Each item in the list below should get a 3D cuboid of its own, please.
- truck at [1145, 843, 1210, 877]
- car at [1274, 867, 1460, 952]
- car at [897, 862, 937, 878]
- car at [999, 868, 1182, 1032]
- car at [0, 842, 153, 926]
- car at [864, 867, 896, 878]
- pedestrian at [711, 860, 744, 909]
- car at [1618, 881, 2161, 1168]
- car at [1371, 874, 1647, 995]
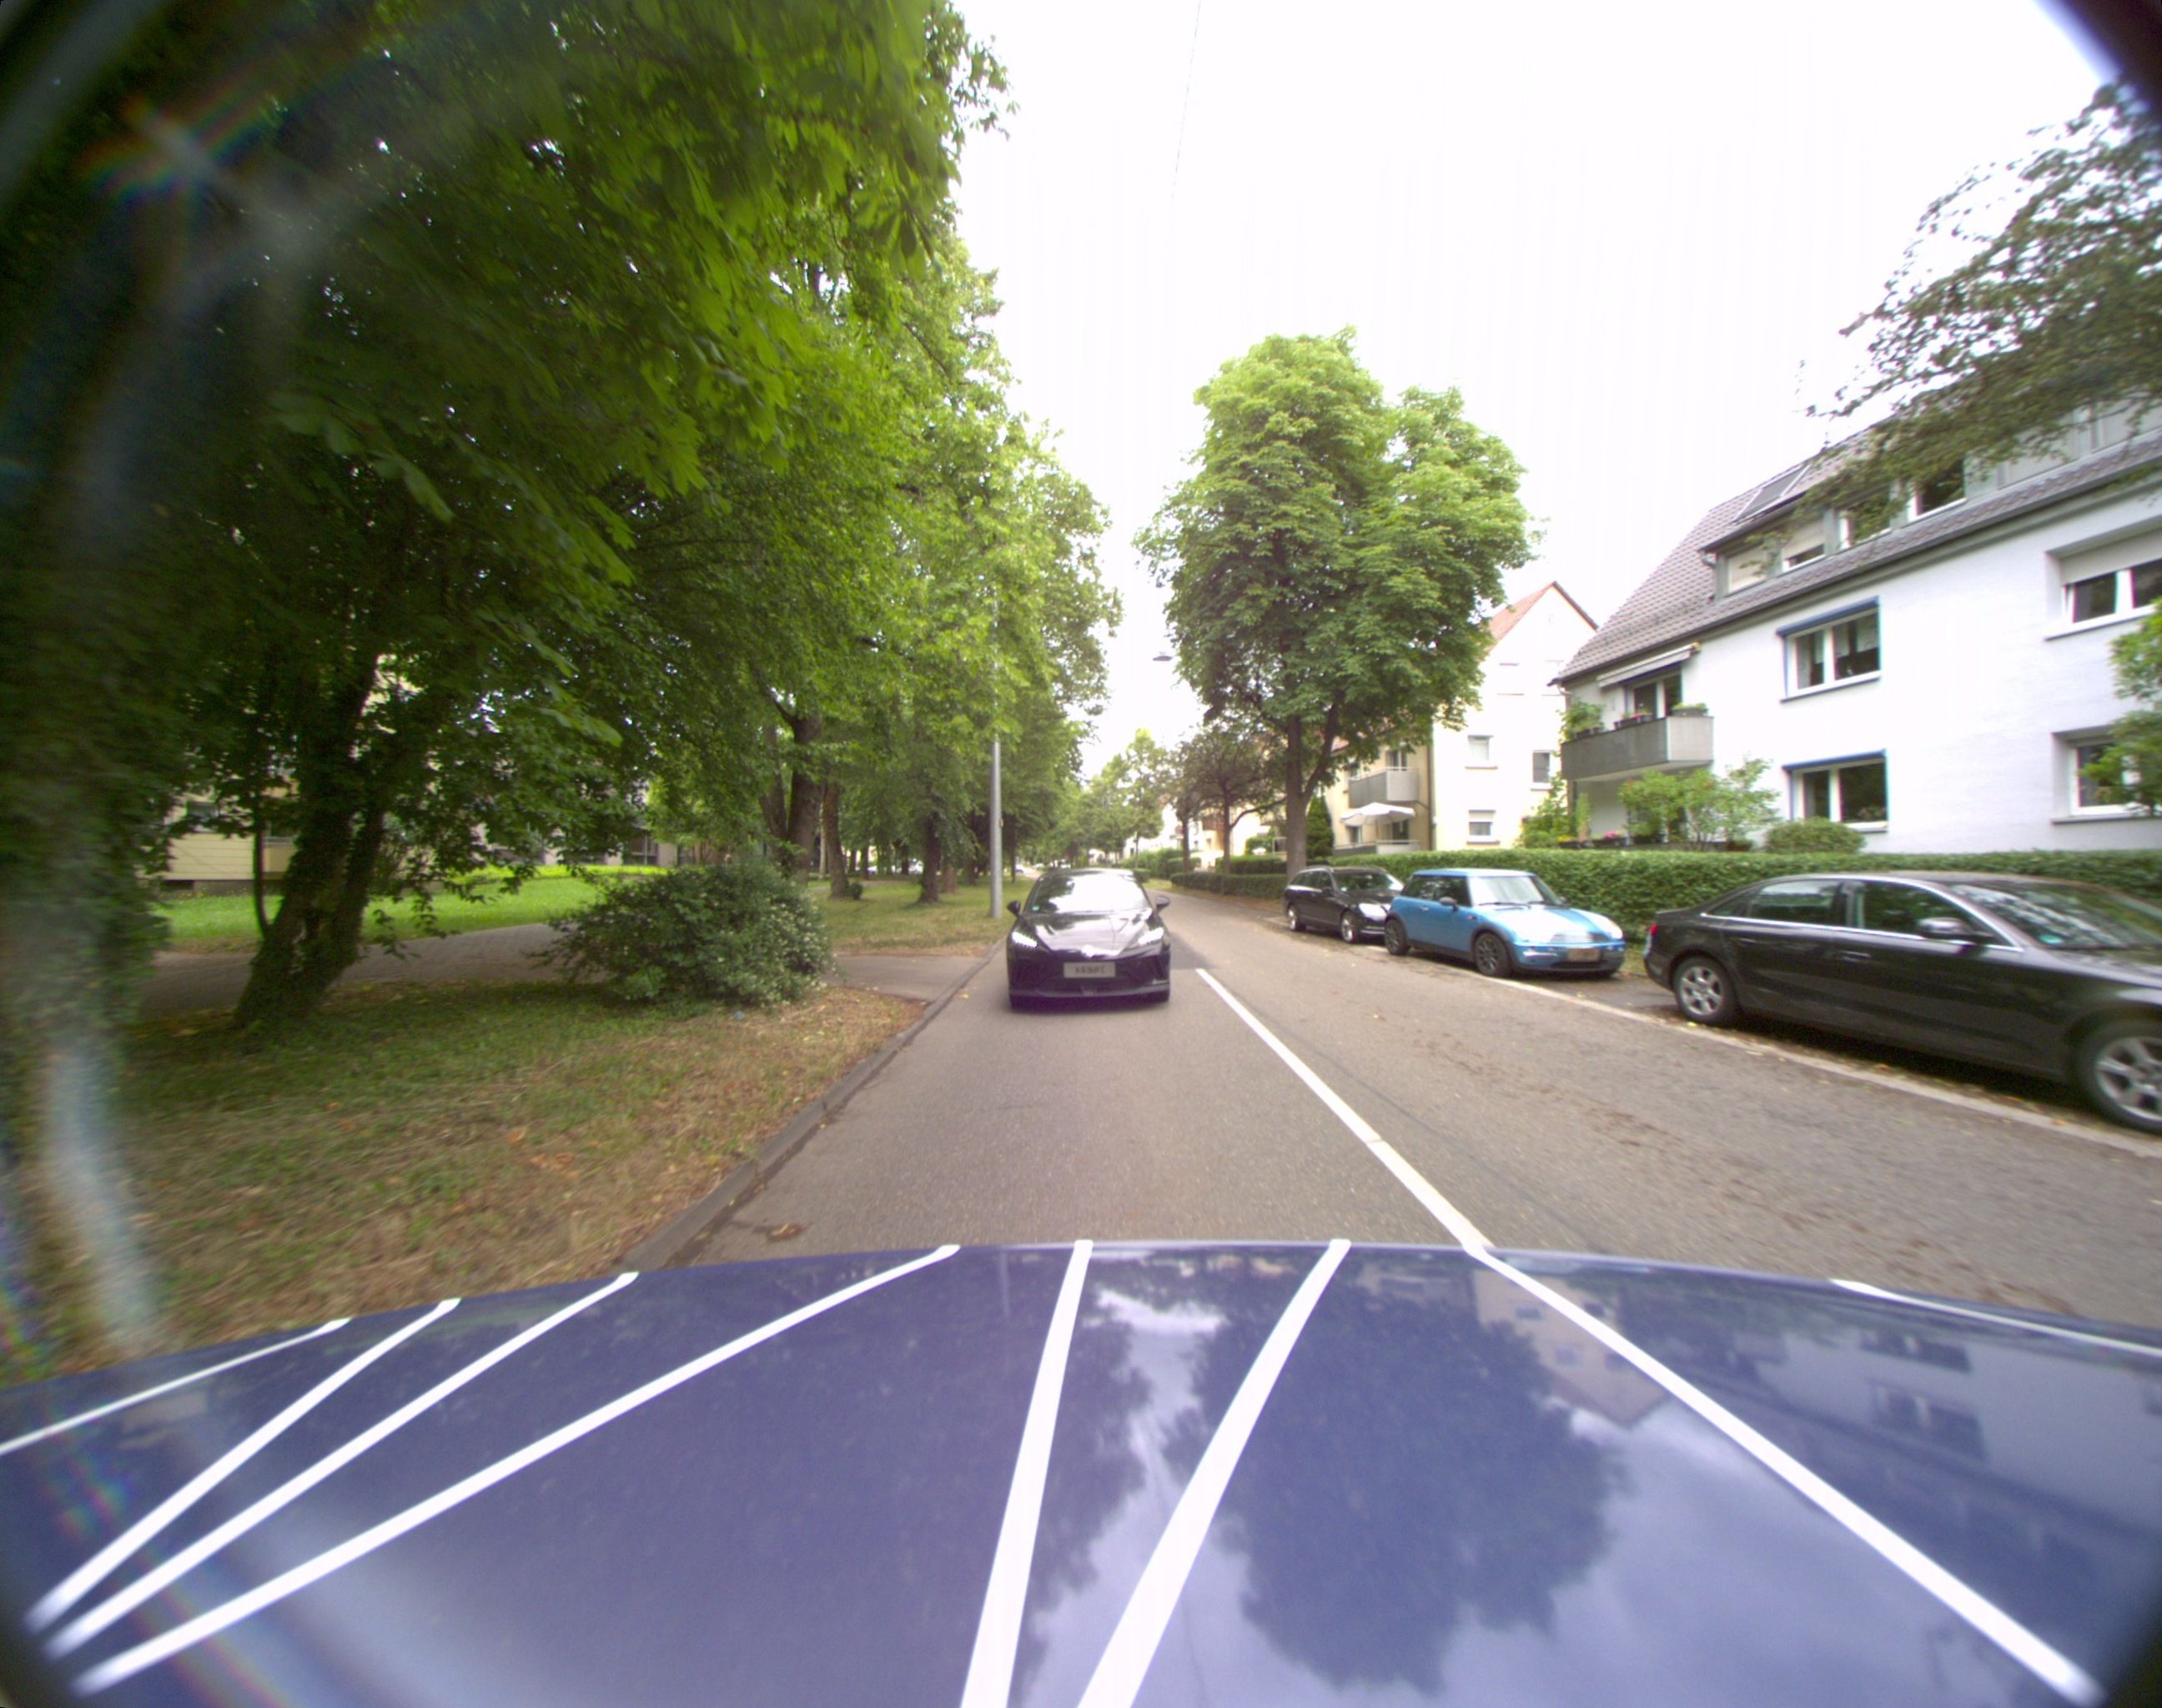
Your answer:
[{"bbox_3d":[9.362,0.581,74.213,5.814,3.112,2.516,-1,0,-7],"label":"truck"},{"bbox_3d":[5.626,1.013,15.620,1.800,1.463,4.416,0,-1,-6],"label":"car"},{"bbox_3d":[-23.851,2.282,110.650,5.337,2.285,2.286,0,-1,-39],"label":"car"},{"bbox_3d":[0.094,1.006,9.876,1.799,1.552,4.471,-1,0,0],"label":"car"},{"bbox_3d":[-24.807,0.649,16.873,2.090,1.831,4.971,1,-2,5],"label":"car"},{"bbox_3d":[-28.177,2.562,106.604,1.795,1.501,4.009,-1,-1,45],"label":"car"},{"bbox_3d":[-12.232,1.051,26.320,0.770,1.676,0.814,1,0,-5],"label":"pedestrian"},{"bbox_3d":[6.474,0.955,5.456,1.799,1.402,4.644,0,-1,-3],"label":"car"},{"bbox_3d":[5.906,1.018,11.042,1.669,1.383,3.705,0,0,-6],"label":"car"}]
